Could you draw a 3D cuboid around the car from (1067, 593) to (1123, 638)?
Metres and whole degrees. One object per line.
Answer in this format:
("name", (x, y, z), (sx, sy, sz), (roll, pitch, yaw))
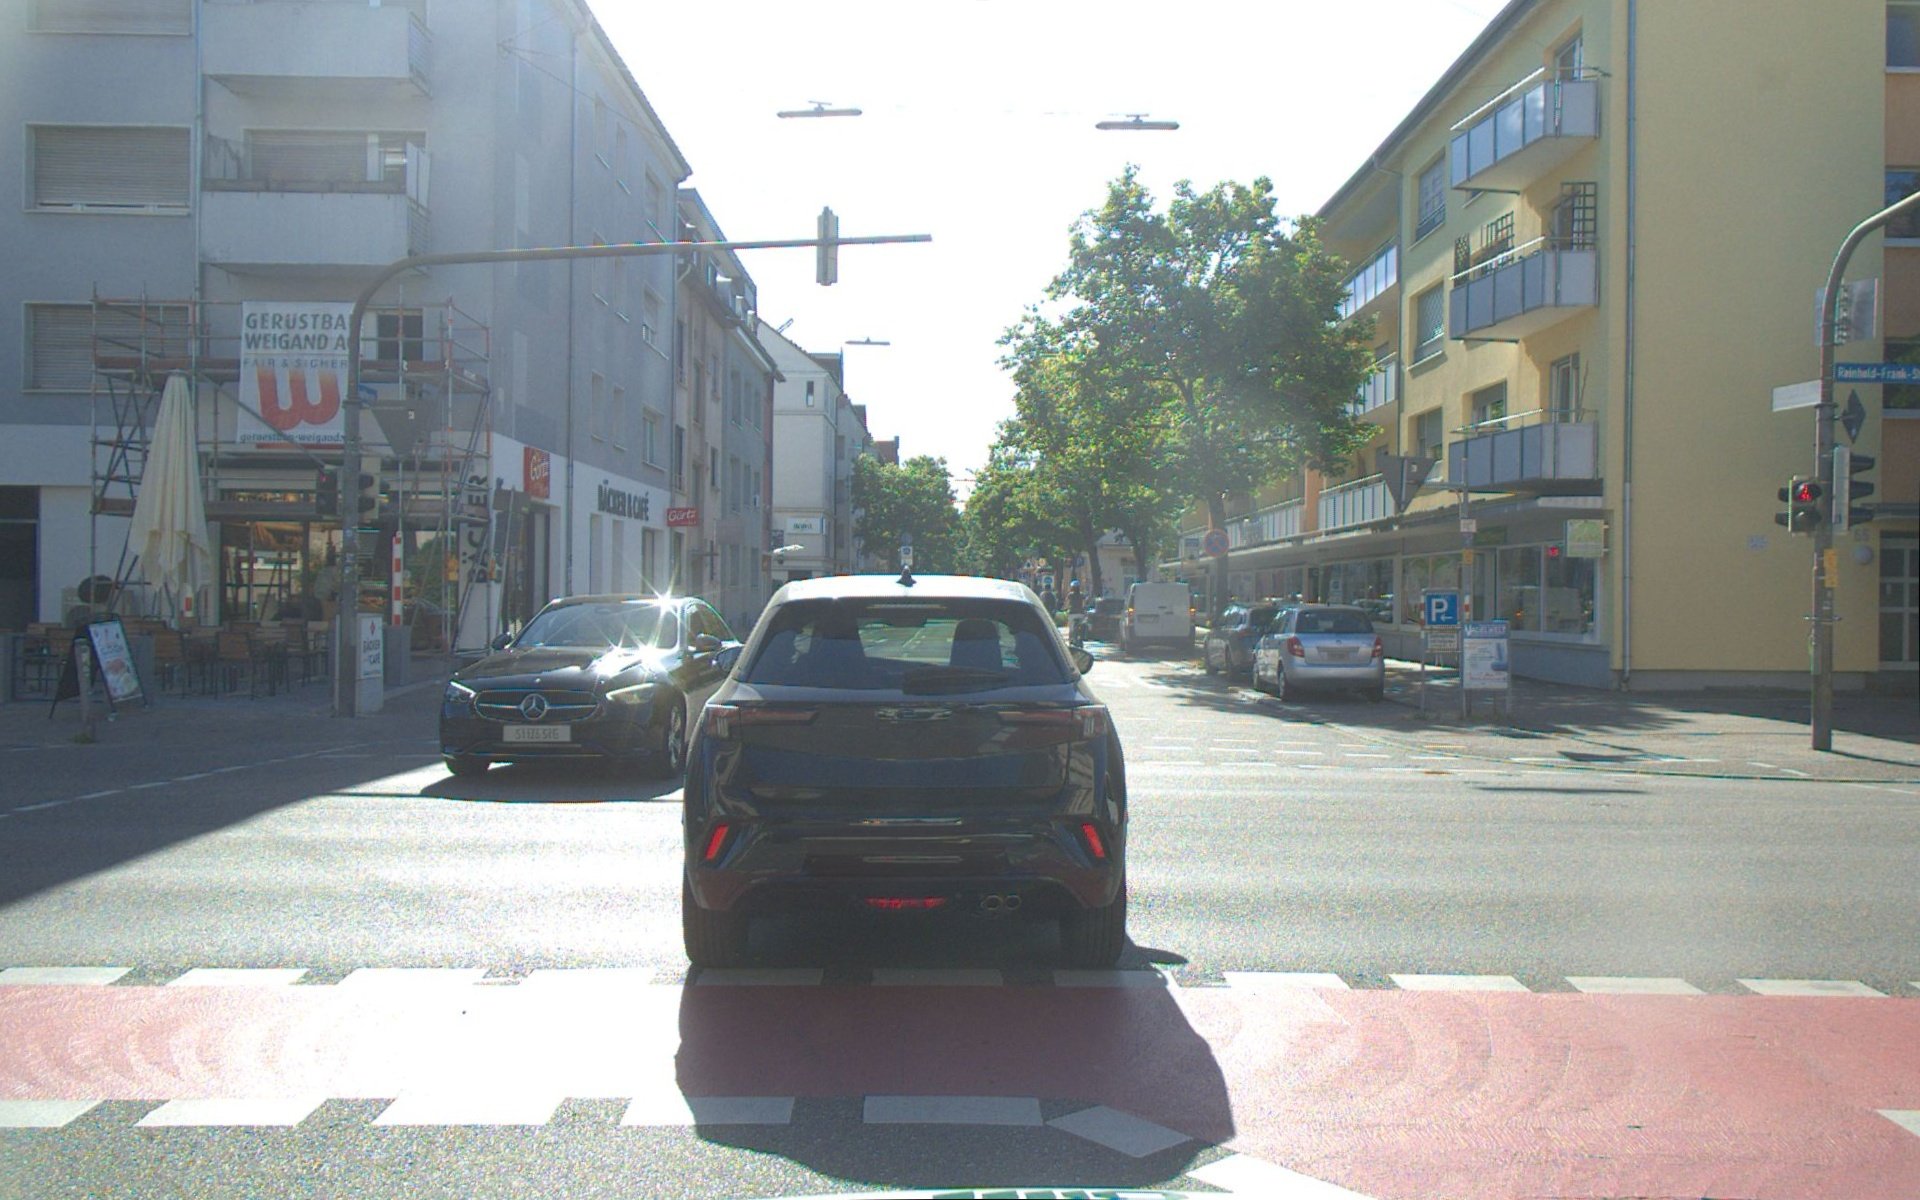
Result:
("car", (4.712, 0.519, 57.934), (1.677, 1.509, 3.381), (0, 0, 0))

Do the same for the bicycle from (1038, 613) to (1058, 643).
("bicycle", (2.681, 0.843, 50.267), (0.535, 0.881, 1.876), (0, 0, 1))

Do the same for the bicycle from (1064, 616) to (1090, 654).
("bicycle", (2.922, 0.864, 41.256), (0.535, 0.881, 1.876), (0, 0, 1))

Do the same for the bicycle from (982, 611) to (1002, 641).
("bicycle", (0.981, 0.800, 50.800), (0.607, 0.881, 1.876), (0, 0, 1))

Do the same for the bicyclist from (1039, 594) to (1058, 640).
("bicyclist", (2.683, 0.512, 50.316), (0.535, 1.406, 0.823), (0, 0, 1))

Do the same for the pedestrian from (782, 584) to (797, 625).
("pedestrian", (-6.642, 0.173, 64.351), (0.566, 1.610, 0.707), (0, 0, -6))

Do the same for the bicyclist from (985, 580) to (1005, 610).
("bicyclist", (1.664, -0.233, 78.302), (0.839, 1.337, 1.210), (3, 0, -1))

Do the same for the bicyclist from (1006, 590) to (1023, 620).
("bicyclist", (2.219, 0.187, 67.878), (0.677, 1.214, 0.595), (0, 0, 1))

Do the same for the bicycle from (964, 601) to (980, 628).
("bicycle", (0.496, 0.578, 66.923), (0.619, 1.059, 1.795), (0, 0, -1))

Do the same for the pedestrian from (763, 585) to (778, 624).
("pedestrian", (-7.366, 0.165, 64.281), (0.566, 1.493, 0.702), (0, 0, -6))

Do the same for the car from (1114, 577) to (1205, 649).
("car", (5.421, 0.329, 45.537), (2.004, 1.879, 4.584), (0, 0, 1))

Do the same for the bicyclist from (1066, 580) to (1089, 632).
("bicyclist", (2.928, 0.154, 41.289), (0.535, 1.284, 0.803), (0, 0, 1))

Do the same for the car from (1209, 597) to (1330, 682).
("car", (5.854, 0.706, 31.617), (1.677, 1.509, 3.381), (0, 0, 0))

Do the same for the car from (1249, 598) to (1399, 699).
("car", (5.860, 0.742, 26.994), (1.677, 1.509, 3.480), (0, 0, 0))

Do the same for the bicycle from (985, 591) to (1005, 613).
("bicycle", (1.652, 0.084, 78.418), (0.839, 0.961, 2.307), (3, 0, -1))

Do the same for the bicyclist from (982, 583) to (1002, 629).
("bicyclist", (0.982, 0.183, 50.830), (0.576, 1.406, 0.823), (0, 0, 1))

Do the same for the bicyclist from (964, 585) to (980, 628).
("bicyclist", (0.488, 0.259, 66.546), (0.619, 1.698, 1.050), (0, 0, -1))

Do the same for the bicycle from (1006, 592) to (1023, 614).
("bicycle", (2.222, 0.103, 67.777), (0.677, 0.881, 1.876), (0, 0, 1))

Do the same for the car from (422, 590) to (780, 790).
("car", (-2.894, 0.657, 14.382), (1.766, 1.437, 4.429), (-1, 0, 5))

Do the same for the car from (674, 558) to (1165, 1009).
("car", (-0.158, 0.655, 7.865), (1.726, 1.586, 3.999), (1, 0, -1))
